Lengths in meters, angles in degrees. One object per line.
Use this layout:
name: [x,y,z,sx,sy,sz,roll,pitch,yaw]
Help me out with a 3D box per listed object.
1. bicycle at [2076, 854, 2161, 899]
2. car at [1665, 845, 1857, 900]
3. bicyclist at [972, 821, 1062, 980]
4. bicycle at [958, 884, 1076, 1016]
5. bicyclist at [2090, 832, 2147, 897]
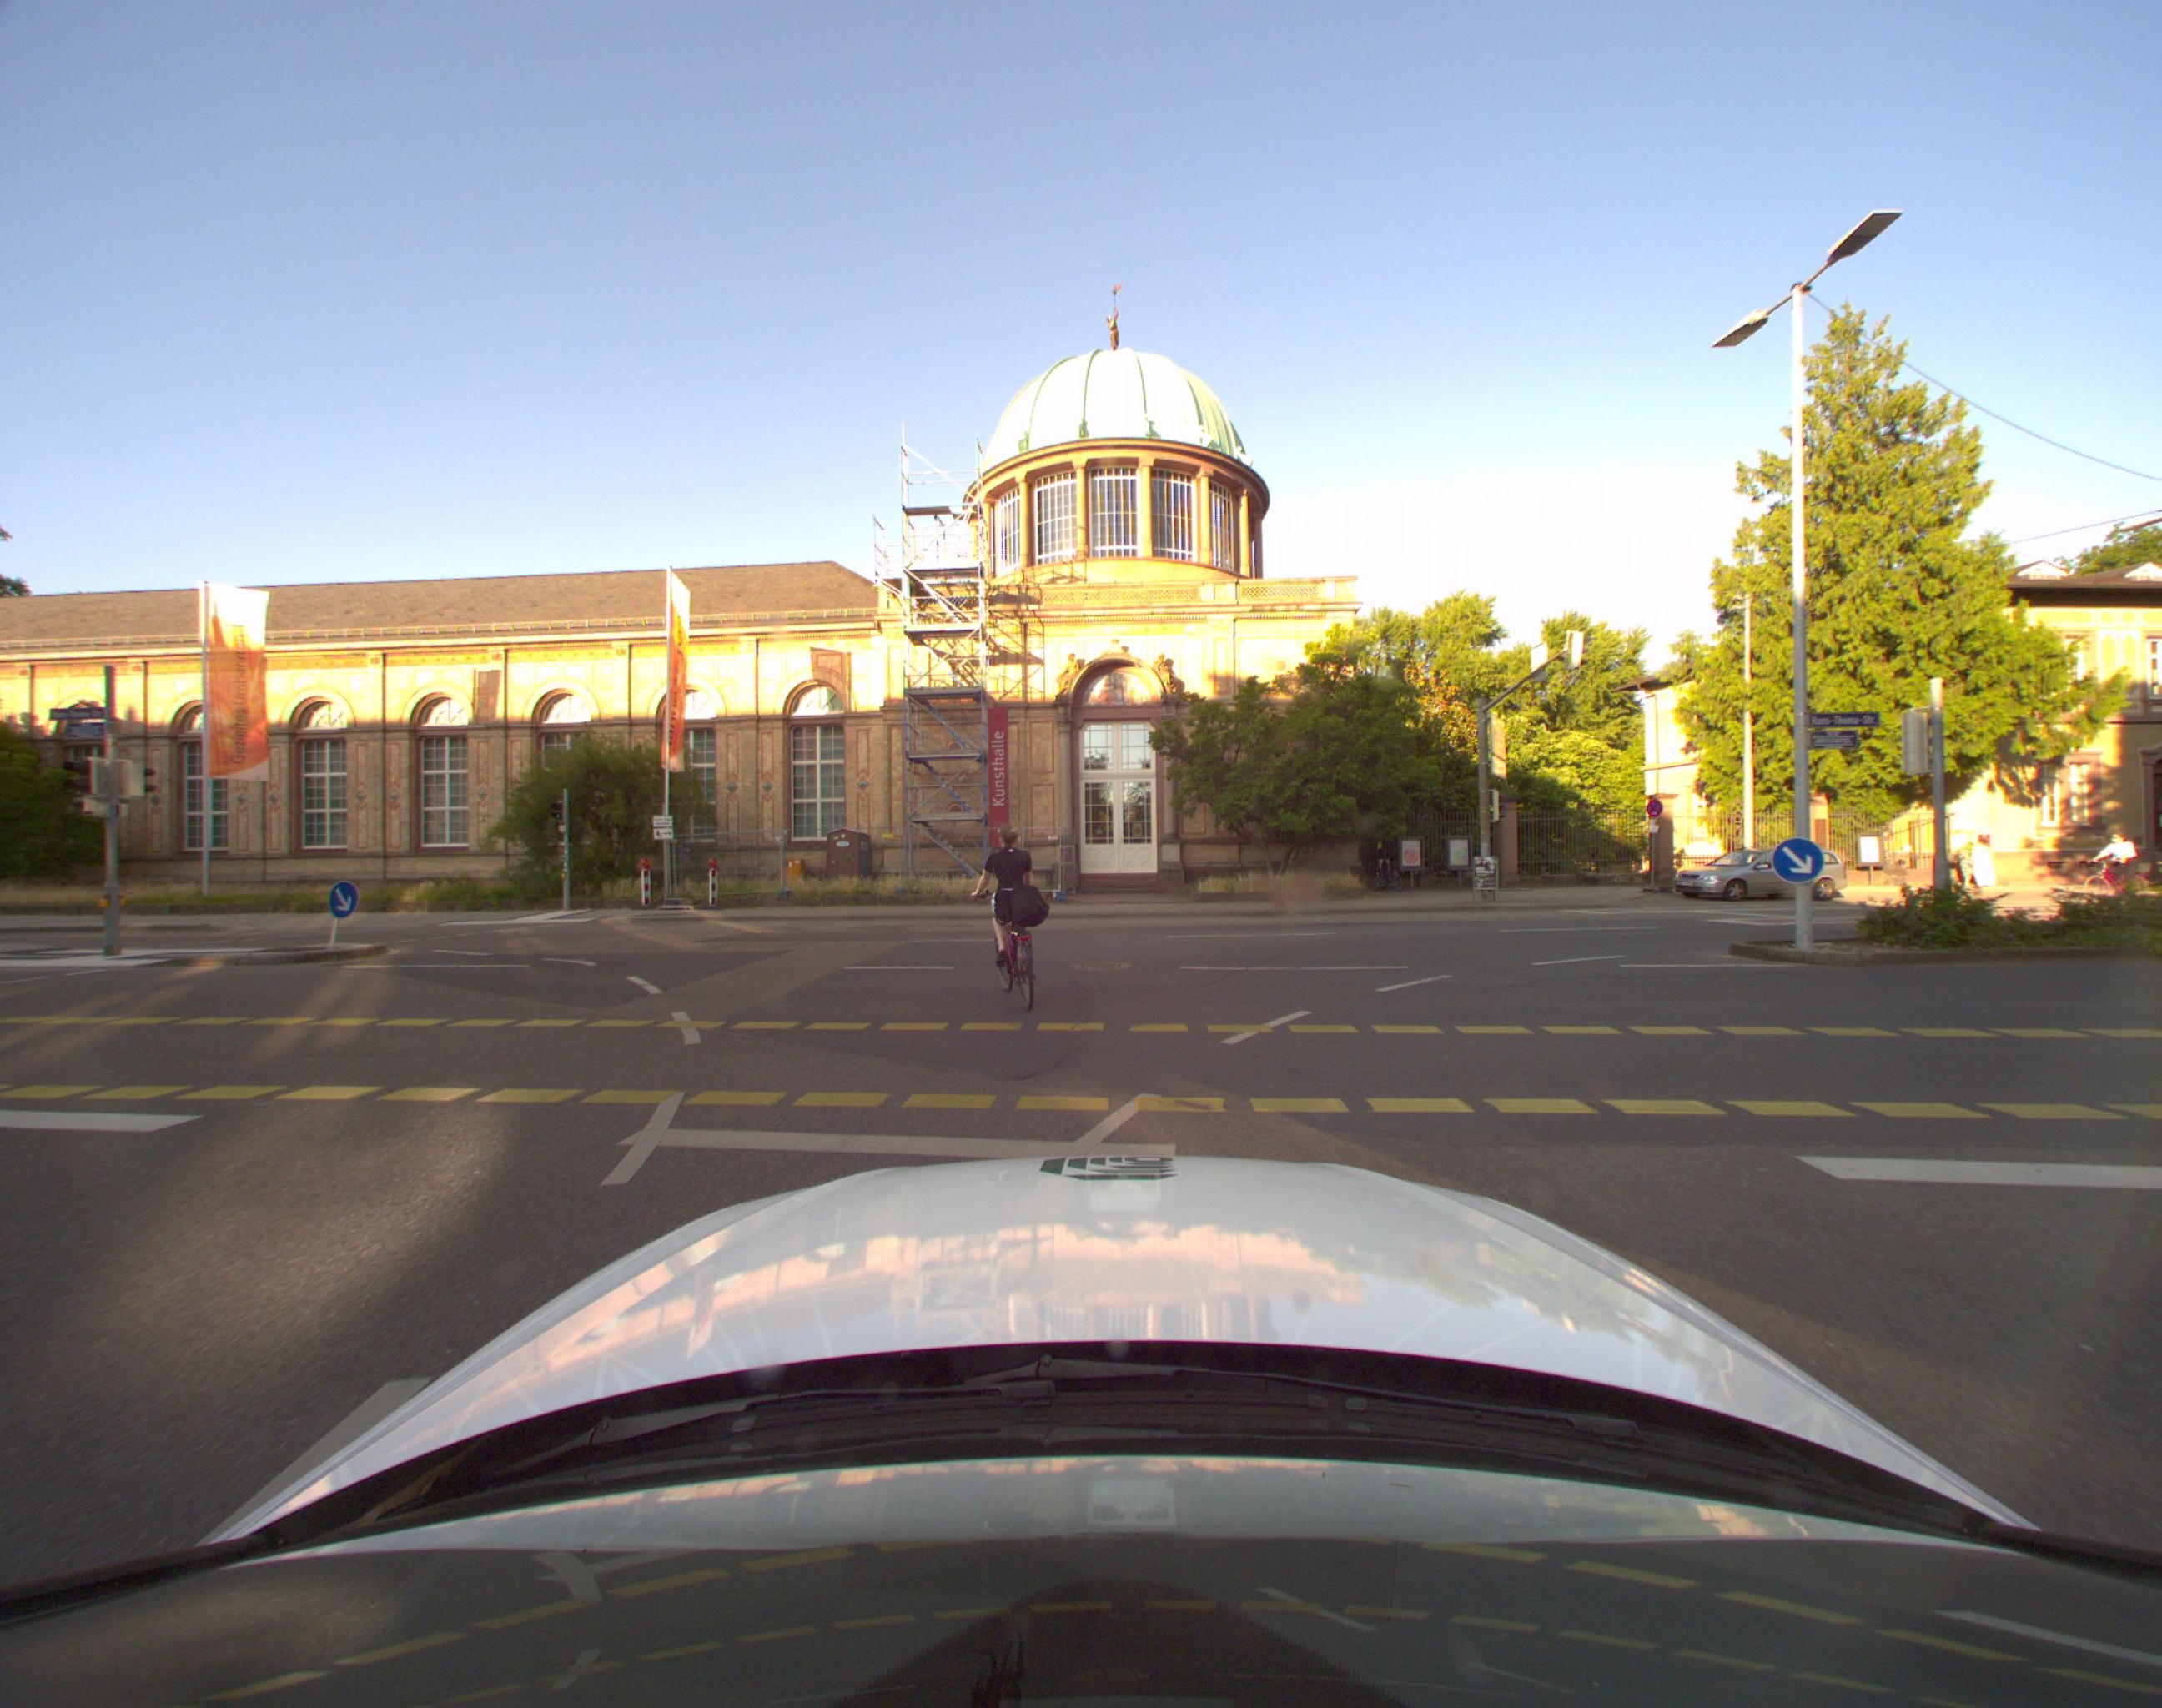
bicycle: [26.727,0.568,20.893,1.655,1.101,0.496,-1,-2,3]
car: [19.340,0.515,23.275,4.175,1.445,1.713,-1,0,-3]
bicyclist: [-0.661,0.452,8.213,0.718,1.502,0.845,0,-2,-18]
bicycle: [-0.718,0.894,8.352,0.713,1.156,2.055,0,-2,-19]
bicyclist: [26.620,0.277,20.909,0.516,1.644,0.668,-1,-2,4]
